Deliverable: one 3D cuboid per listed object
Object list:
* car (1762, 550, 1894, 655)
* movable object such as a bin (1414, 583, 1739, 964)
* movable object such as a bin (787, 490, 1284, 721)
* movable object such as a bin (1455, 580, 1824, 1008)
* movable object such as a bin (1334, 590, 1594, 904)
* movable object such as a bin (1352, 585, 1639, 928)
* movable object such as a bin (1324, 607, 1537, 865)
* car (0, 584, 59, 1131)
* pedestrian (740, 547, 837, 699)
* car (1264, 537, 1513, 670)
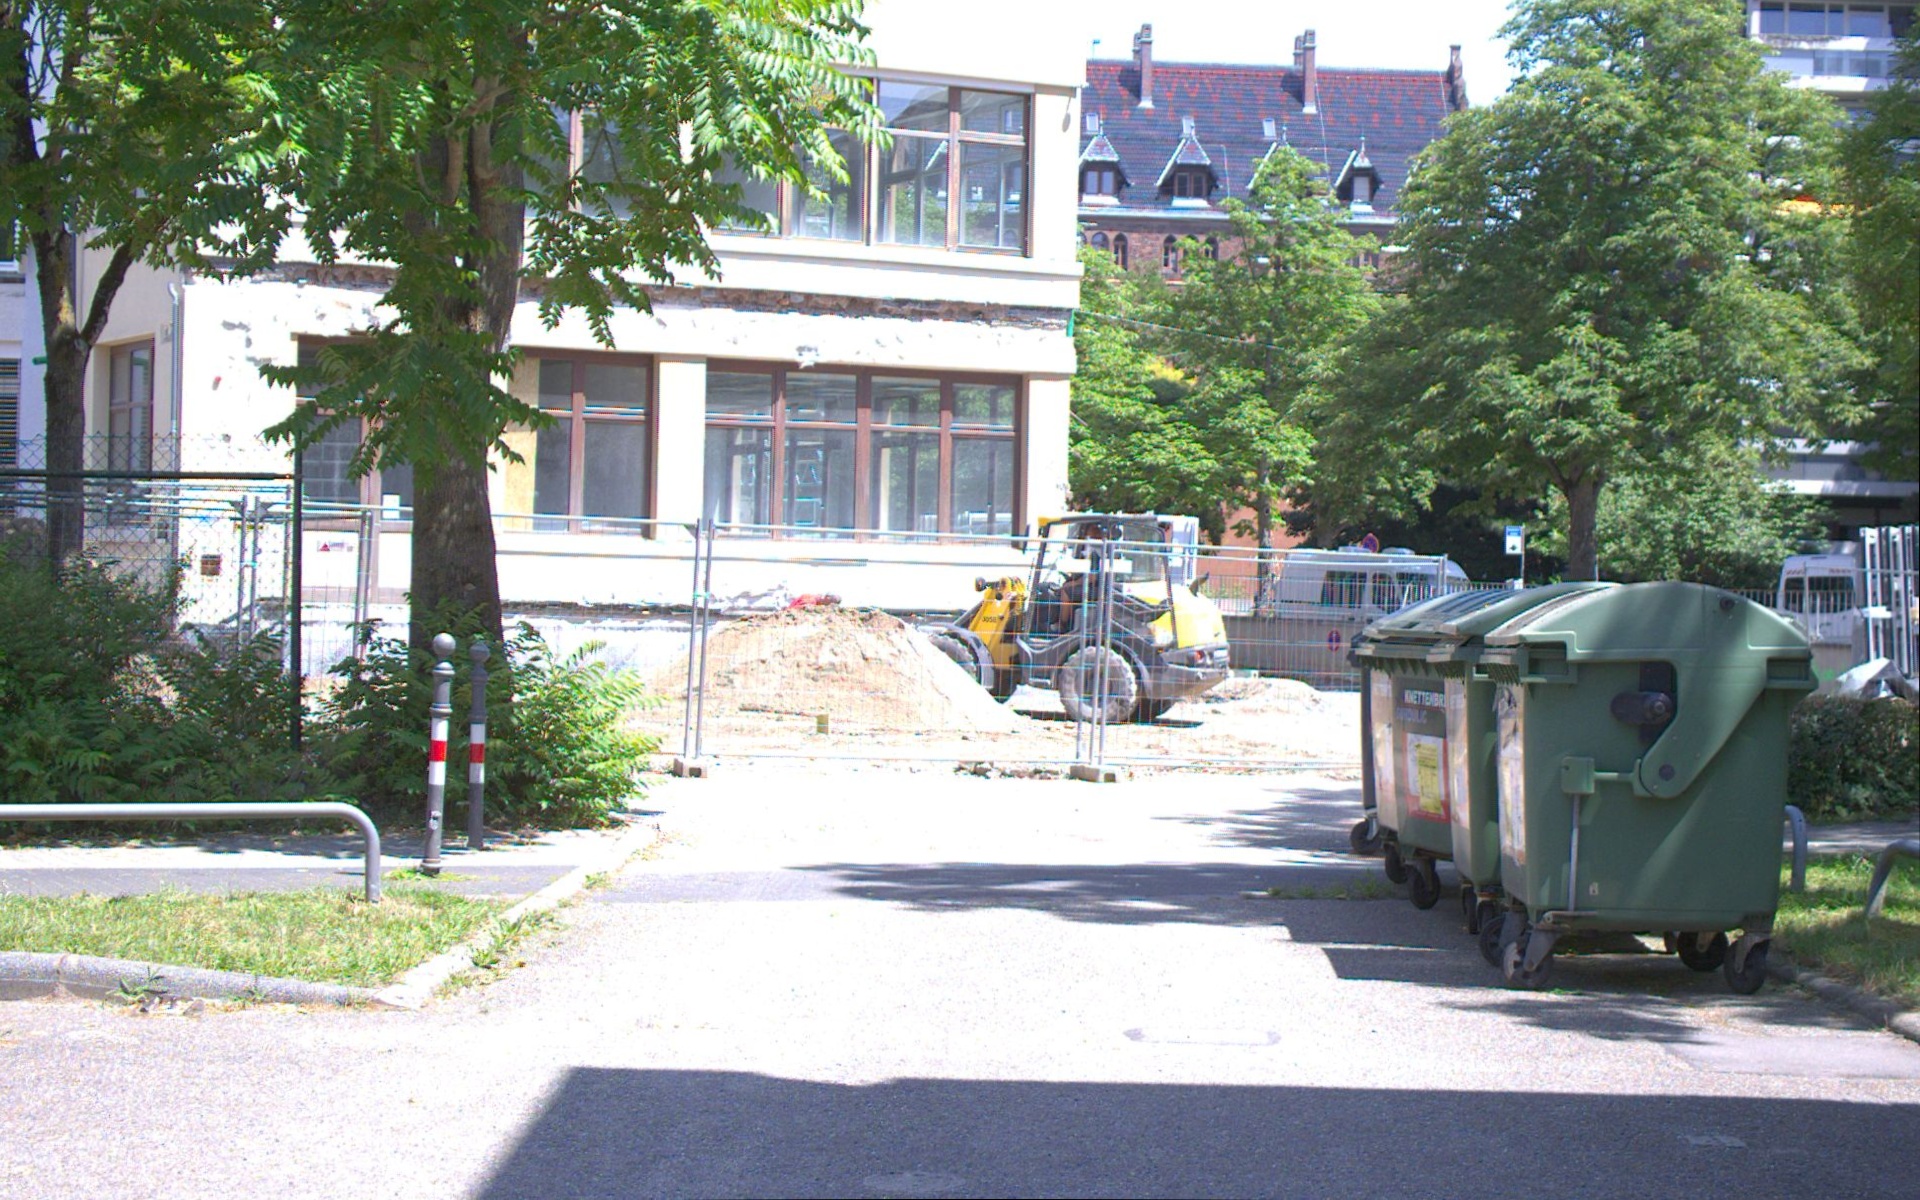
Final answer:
[{"bbox_3d":[19.584,0.079,77.386,2.187,2.250,4.863,1,0,22],"label":"car"},{"bbox_3d":[2.482,0.674,14.024,1.075,1.453,1.377,1,0,2],"label":"movable object such as a bin"},{"bbox_3d":[0.889,0.040,41.552,5.412,2.456,2.364,3,1,29],"label":"movable object such as a bin"},{"bbox_3d":[2.448,0.671,12.581,1.075,1.453,1.377,1,0,2],"label":"movable object such as a bin"},{"bbox_3d":[2.456,0.694,16.919,1.075,1.453,1.377,1,0,2],"label":"movable object such as a bin"},{"bbox_3d":[2.386,0.675,15.498,1.075,1.453,1.377,1,0,2],"label":"movable object such as a bin"},{"bbox_3d":[2.774,0.782,20.421,1.075,1.453,1.377,1,0,2],"label":"movable object such as a bin"},{"bbox_3d":[-4.642,0.594,8.122,4.430,1.375,2.023,1,0,3],"label":"car"},{"bbox_3d":[-2.110,0.283,42.433,0.914,1.840,0.985,1,0,13],"label":"pedestrian"},{"bbox_3d":[8.114,0.046,65.598,1.993,2.408,5.244,1,0,-28],"label":"car"}]
